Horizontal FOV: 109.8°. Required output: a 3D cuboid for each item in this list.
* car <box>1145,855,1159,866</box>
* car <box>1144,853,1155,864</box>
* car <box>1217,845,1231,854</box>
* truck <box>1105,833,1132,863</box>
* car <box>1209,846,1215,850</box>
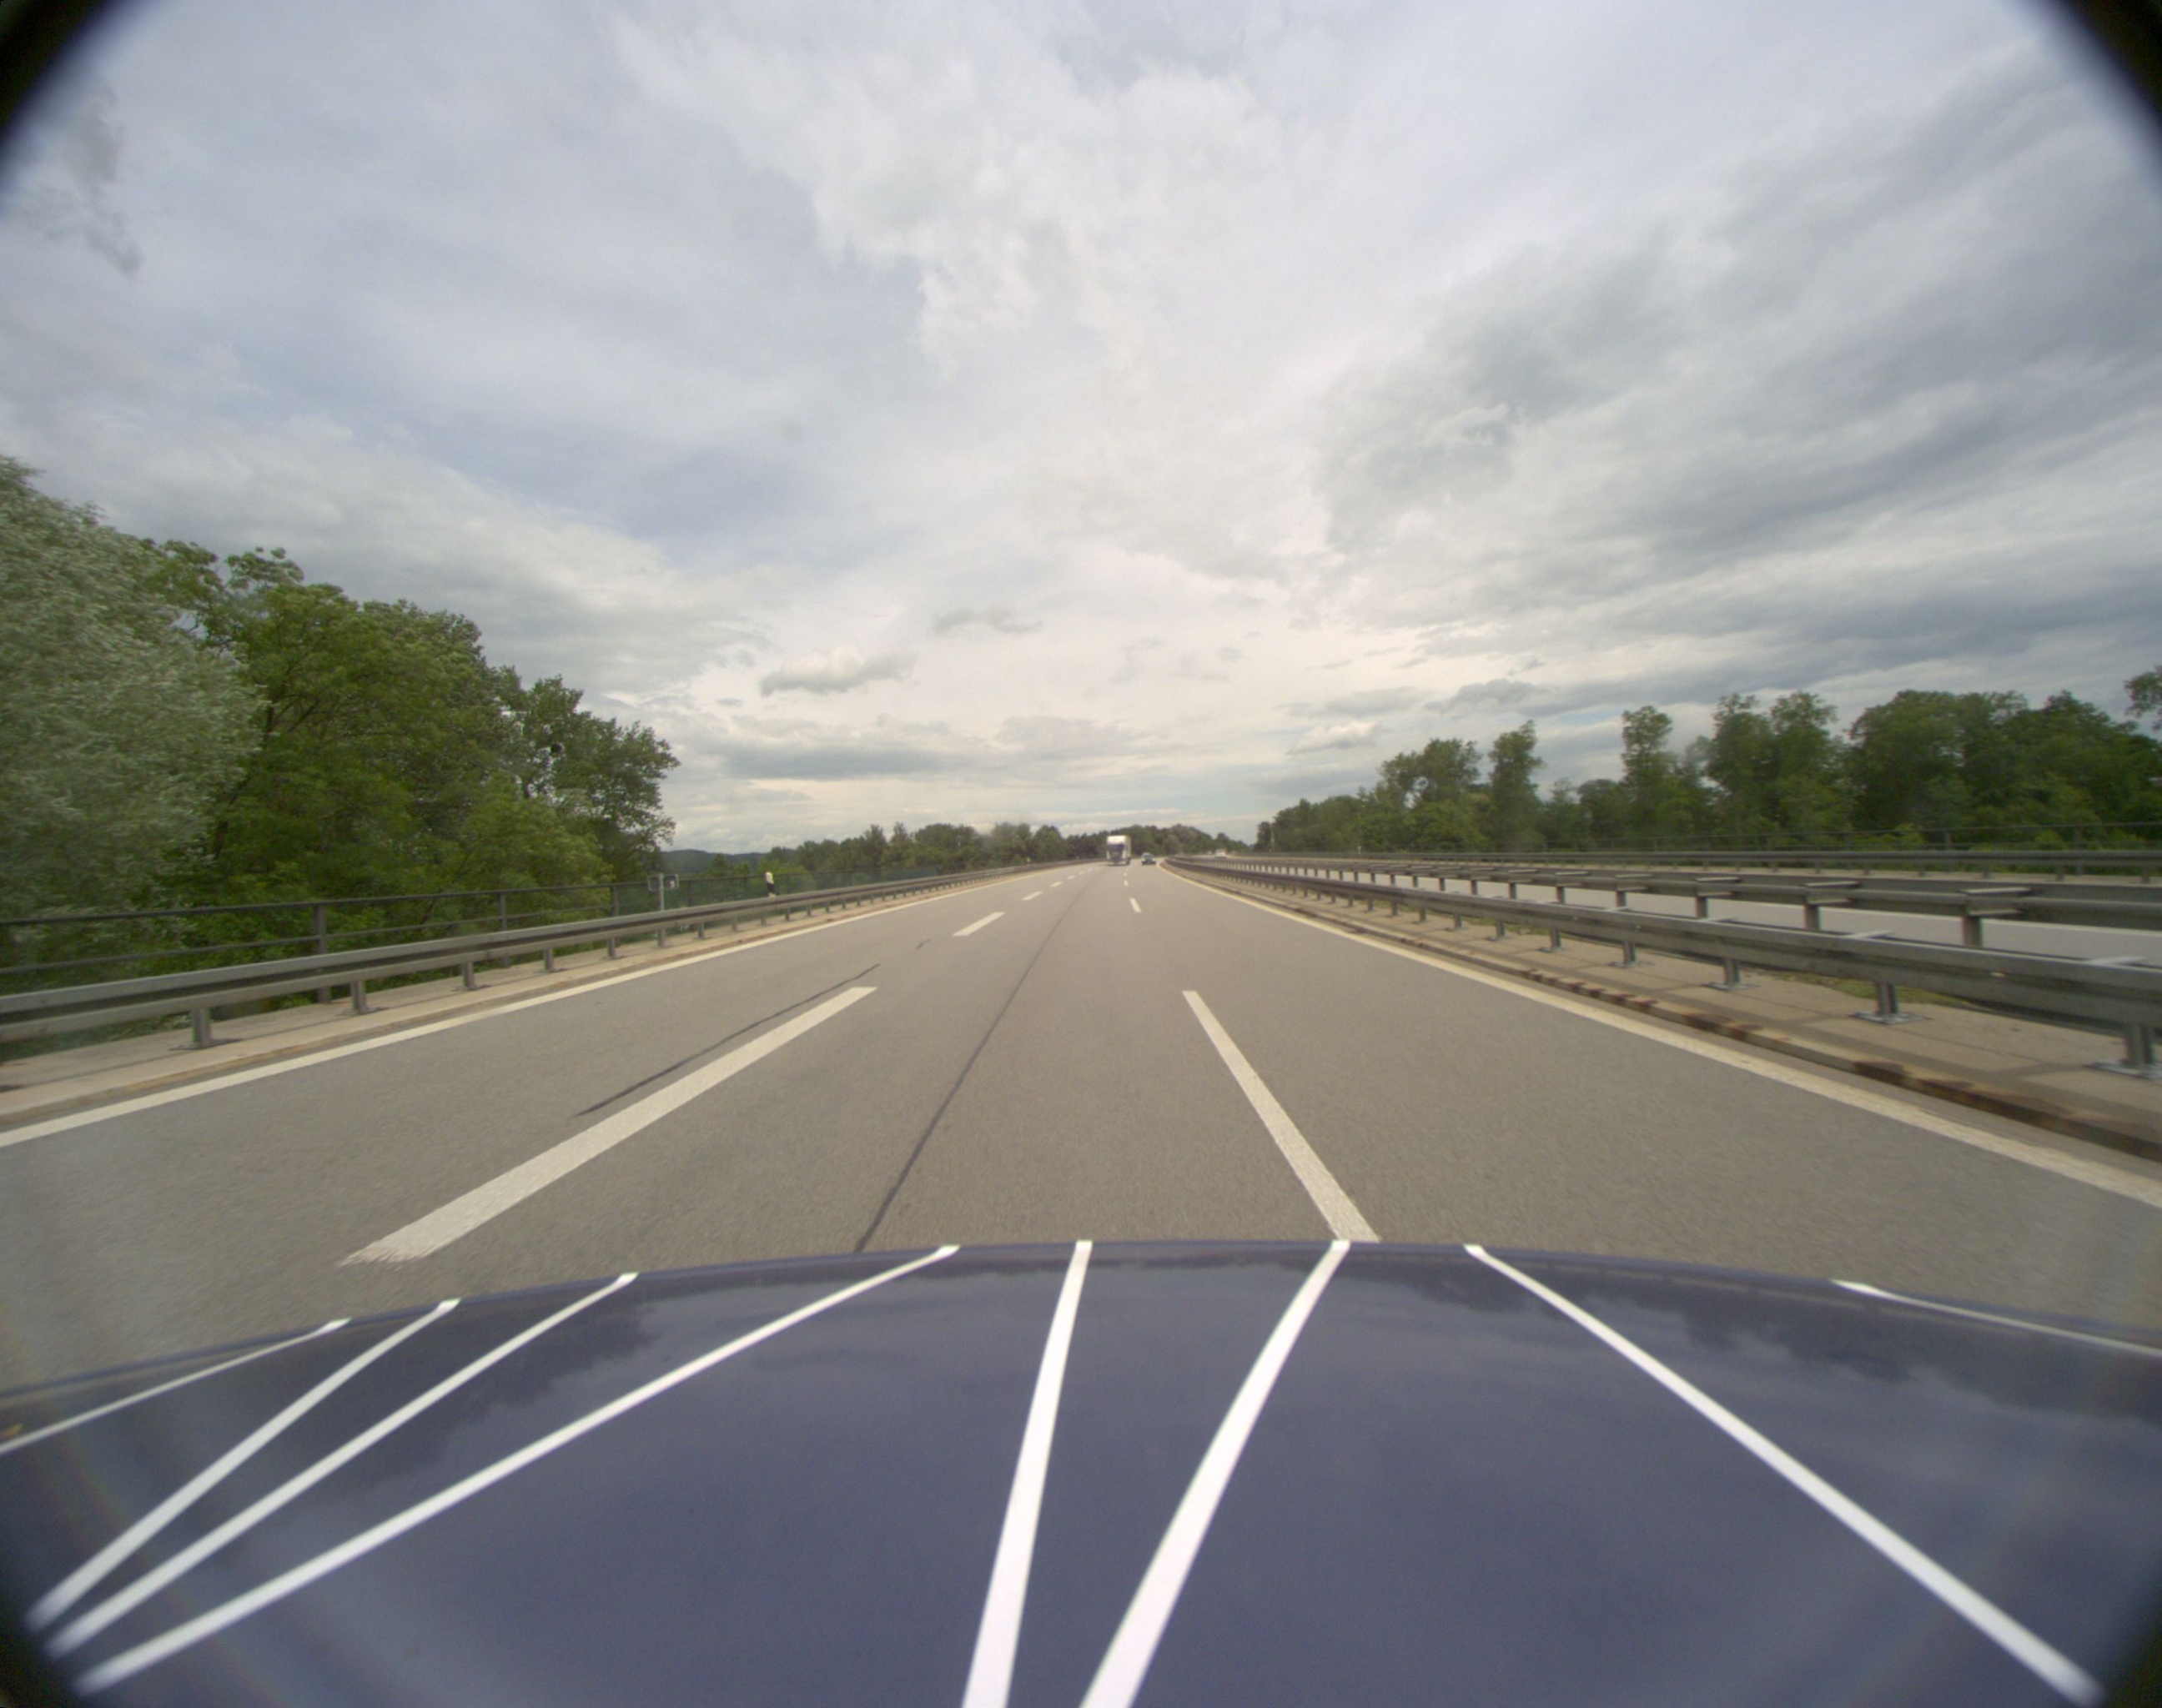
[{"bbox_3d":[9.663,0.892,103.004,1.774,1.474,4.700,-1,-1,7],"label":"car"},{"bbox_3d":[12.308,0.838,136.673,1.774,1.813,4.167,-2,0,7],"label":"car"},{"bbox_3d":[22.764,-0.759,121.227,1.534,1.398,4.329,-3,0,3],"label":"car"},{"bbox_3d":[5.158,-0.764,103.618,3.068,3.869,6.003,-2,0,7],"label":"truck"},{"bbox_3d":[45.430,-2.060,263.350,1.775,1.379,4.390,-2,0,7],"label":"car"}]
